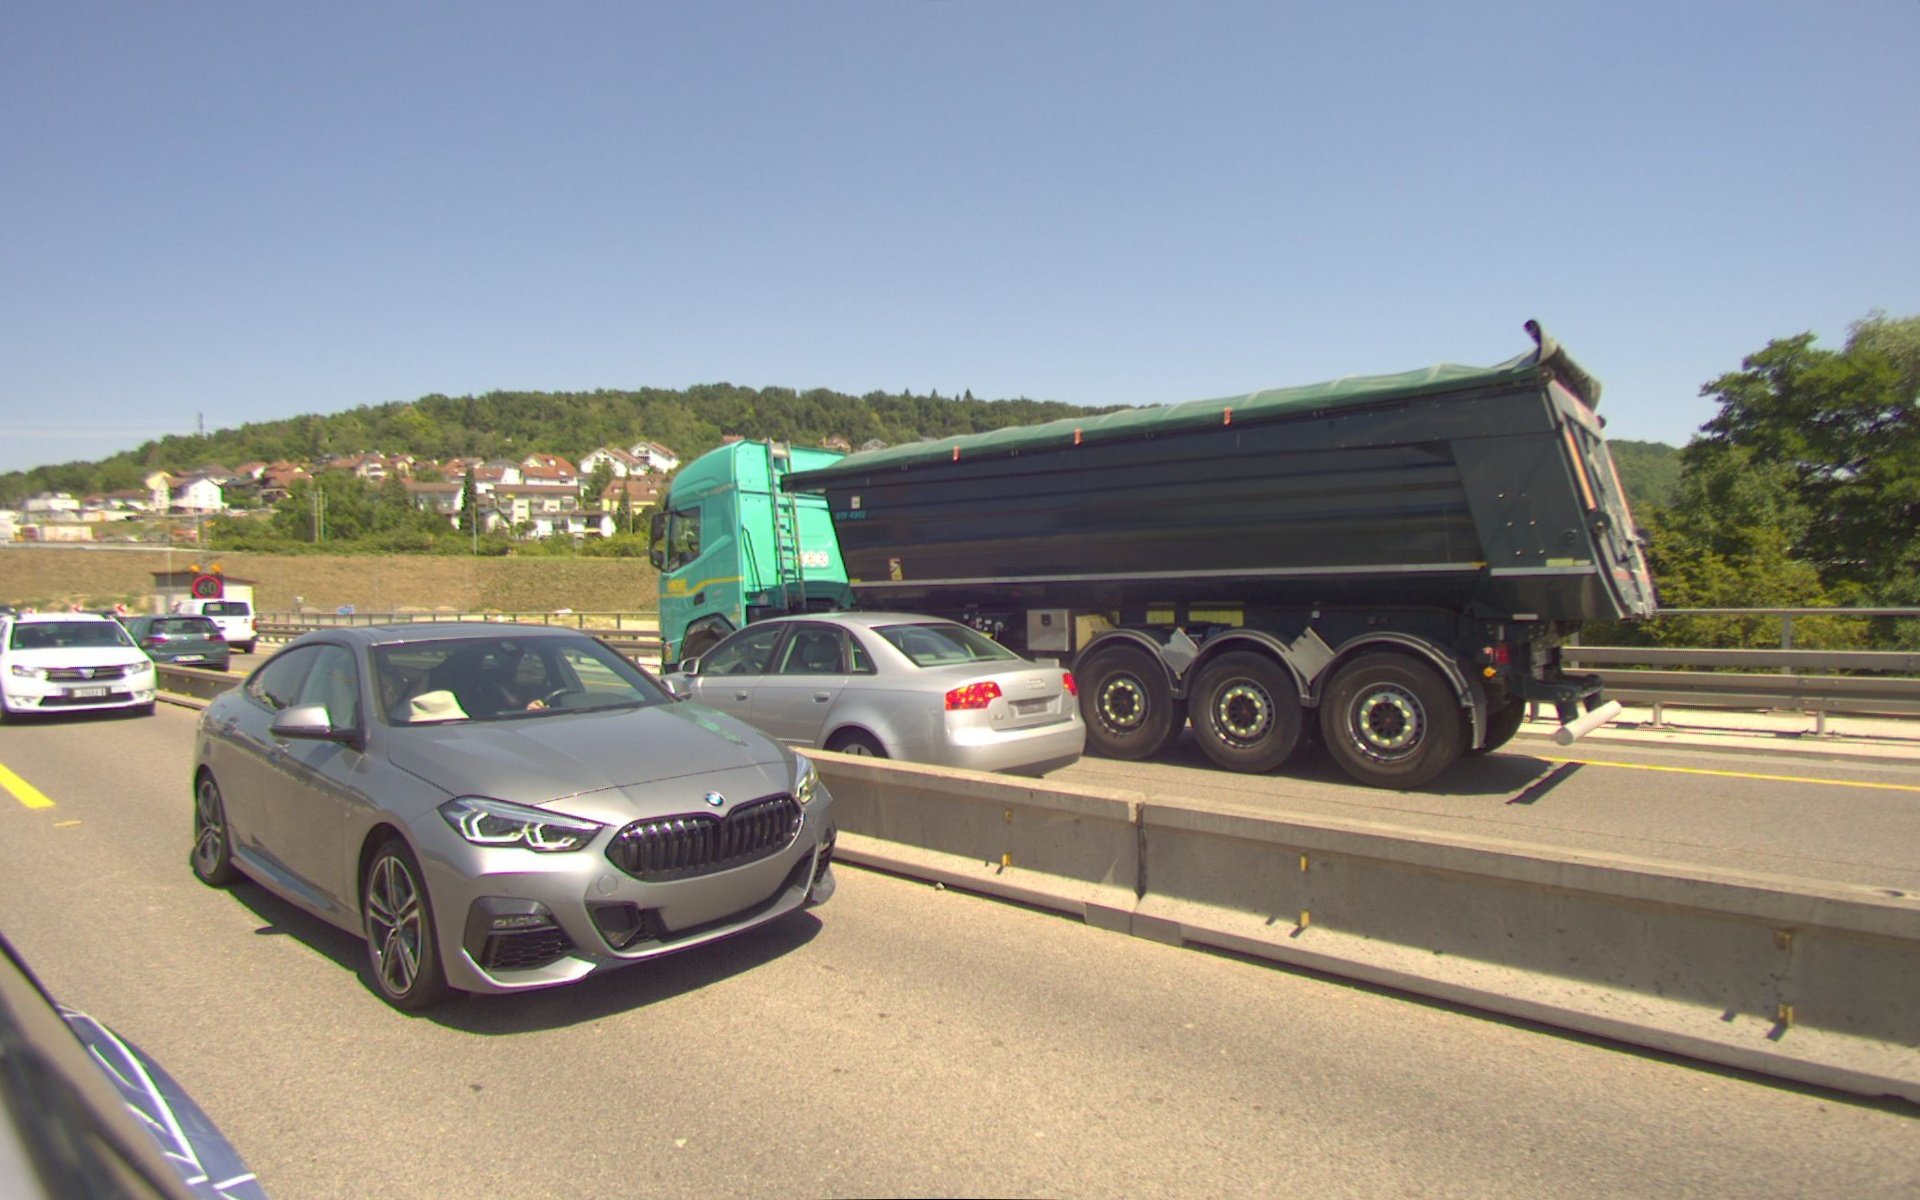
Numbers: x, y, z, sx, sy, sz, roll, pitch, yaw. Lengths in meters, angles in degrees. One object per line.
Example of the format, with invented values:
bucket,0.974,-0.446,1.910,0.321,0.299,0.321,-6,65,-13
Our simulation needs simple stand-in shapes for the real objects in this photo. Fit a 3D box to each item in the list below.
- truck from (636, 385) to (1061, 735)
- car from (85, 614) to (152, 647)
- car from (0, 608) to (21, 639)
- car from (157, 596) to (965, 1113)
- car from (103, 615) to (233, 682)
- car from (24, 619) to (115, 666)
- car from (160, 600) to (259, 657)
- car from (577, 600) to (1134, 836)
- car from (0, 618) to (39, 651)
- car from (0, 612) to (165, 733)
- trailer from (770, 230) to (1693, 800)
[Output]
truck,-1.653,-0.407,13.649,5.371,3.750,2.768,-1,0,41
car,-41.644,1.502,50.063,3.996,1.581,1.795,-1,-2,39
car,-63.673,1.591,66.790,4.935,1.948,1.904,-1,1,41
car,-2.364,0.766,5.129,4.739,1.463,1.832,-1,-1,41
car,-18.375,1.081,23.432,4.101,1.419,1.614,-1,-2,41
car,-28.769,1.341,32.668,4.154,1.402,1.661,-1,-2,41
car,-26.432,1.001,35.597,4.627,1.882,1.839,-1,-2,41
car,-1.083,0.758,8.191,4.709,1.390,1.762,-1,-2,41
car,-43.432,1.556,46.020,4.655,1.429,1.806,-1,-2,42
car,-13.555,0.982,15.219,4.706,1.542,1.799,-1,-1,43
trailer,1.979,-0.502,10.534,8.950,3.700,2.766,-1,-1,40
